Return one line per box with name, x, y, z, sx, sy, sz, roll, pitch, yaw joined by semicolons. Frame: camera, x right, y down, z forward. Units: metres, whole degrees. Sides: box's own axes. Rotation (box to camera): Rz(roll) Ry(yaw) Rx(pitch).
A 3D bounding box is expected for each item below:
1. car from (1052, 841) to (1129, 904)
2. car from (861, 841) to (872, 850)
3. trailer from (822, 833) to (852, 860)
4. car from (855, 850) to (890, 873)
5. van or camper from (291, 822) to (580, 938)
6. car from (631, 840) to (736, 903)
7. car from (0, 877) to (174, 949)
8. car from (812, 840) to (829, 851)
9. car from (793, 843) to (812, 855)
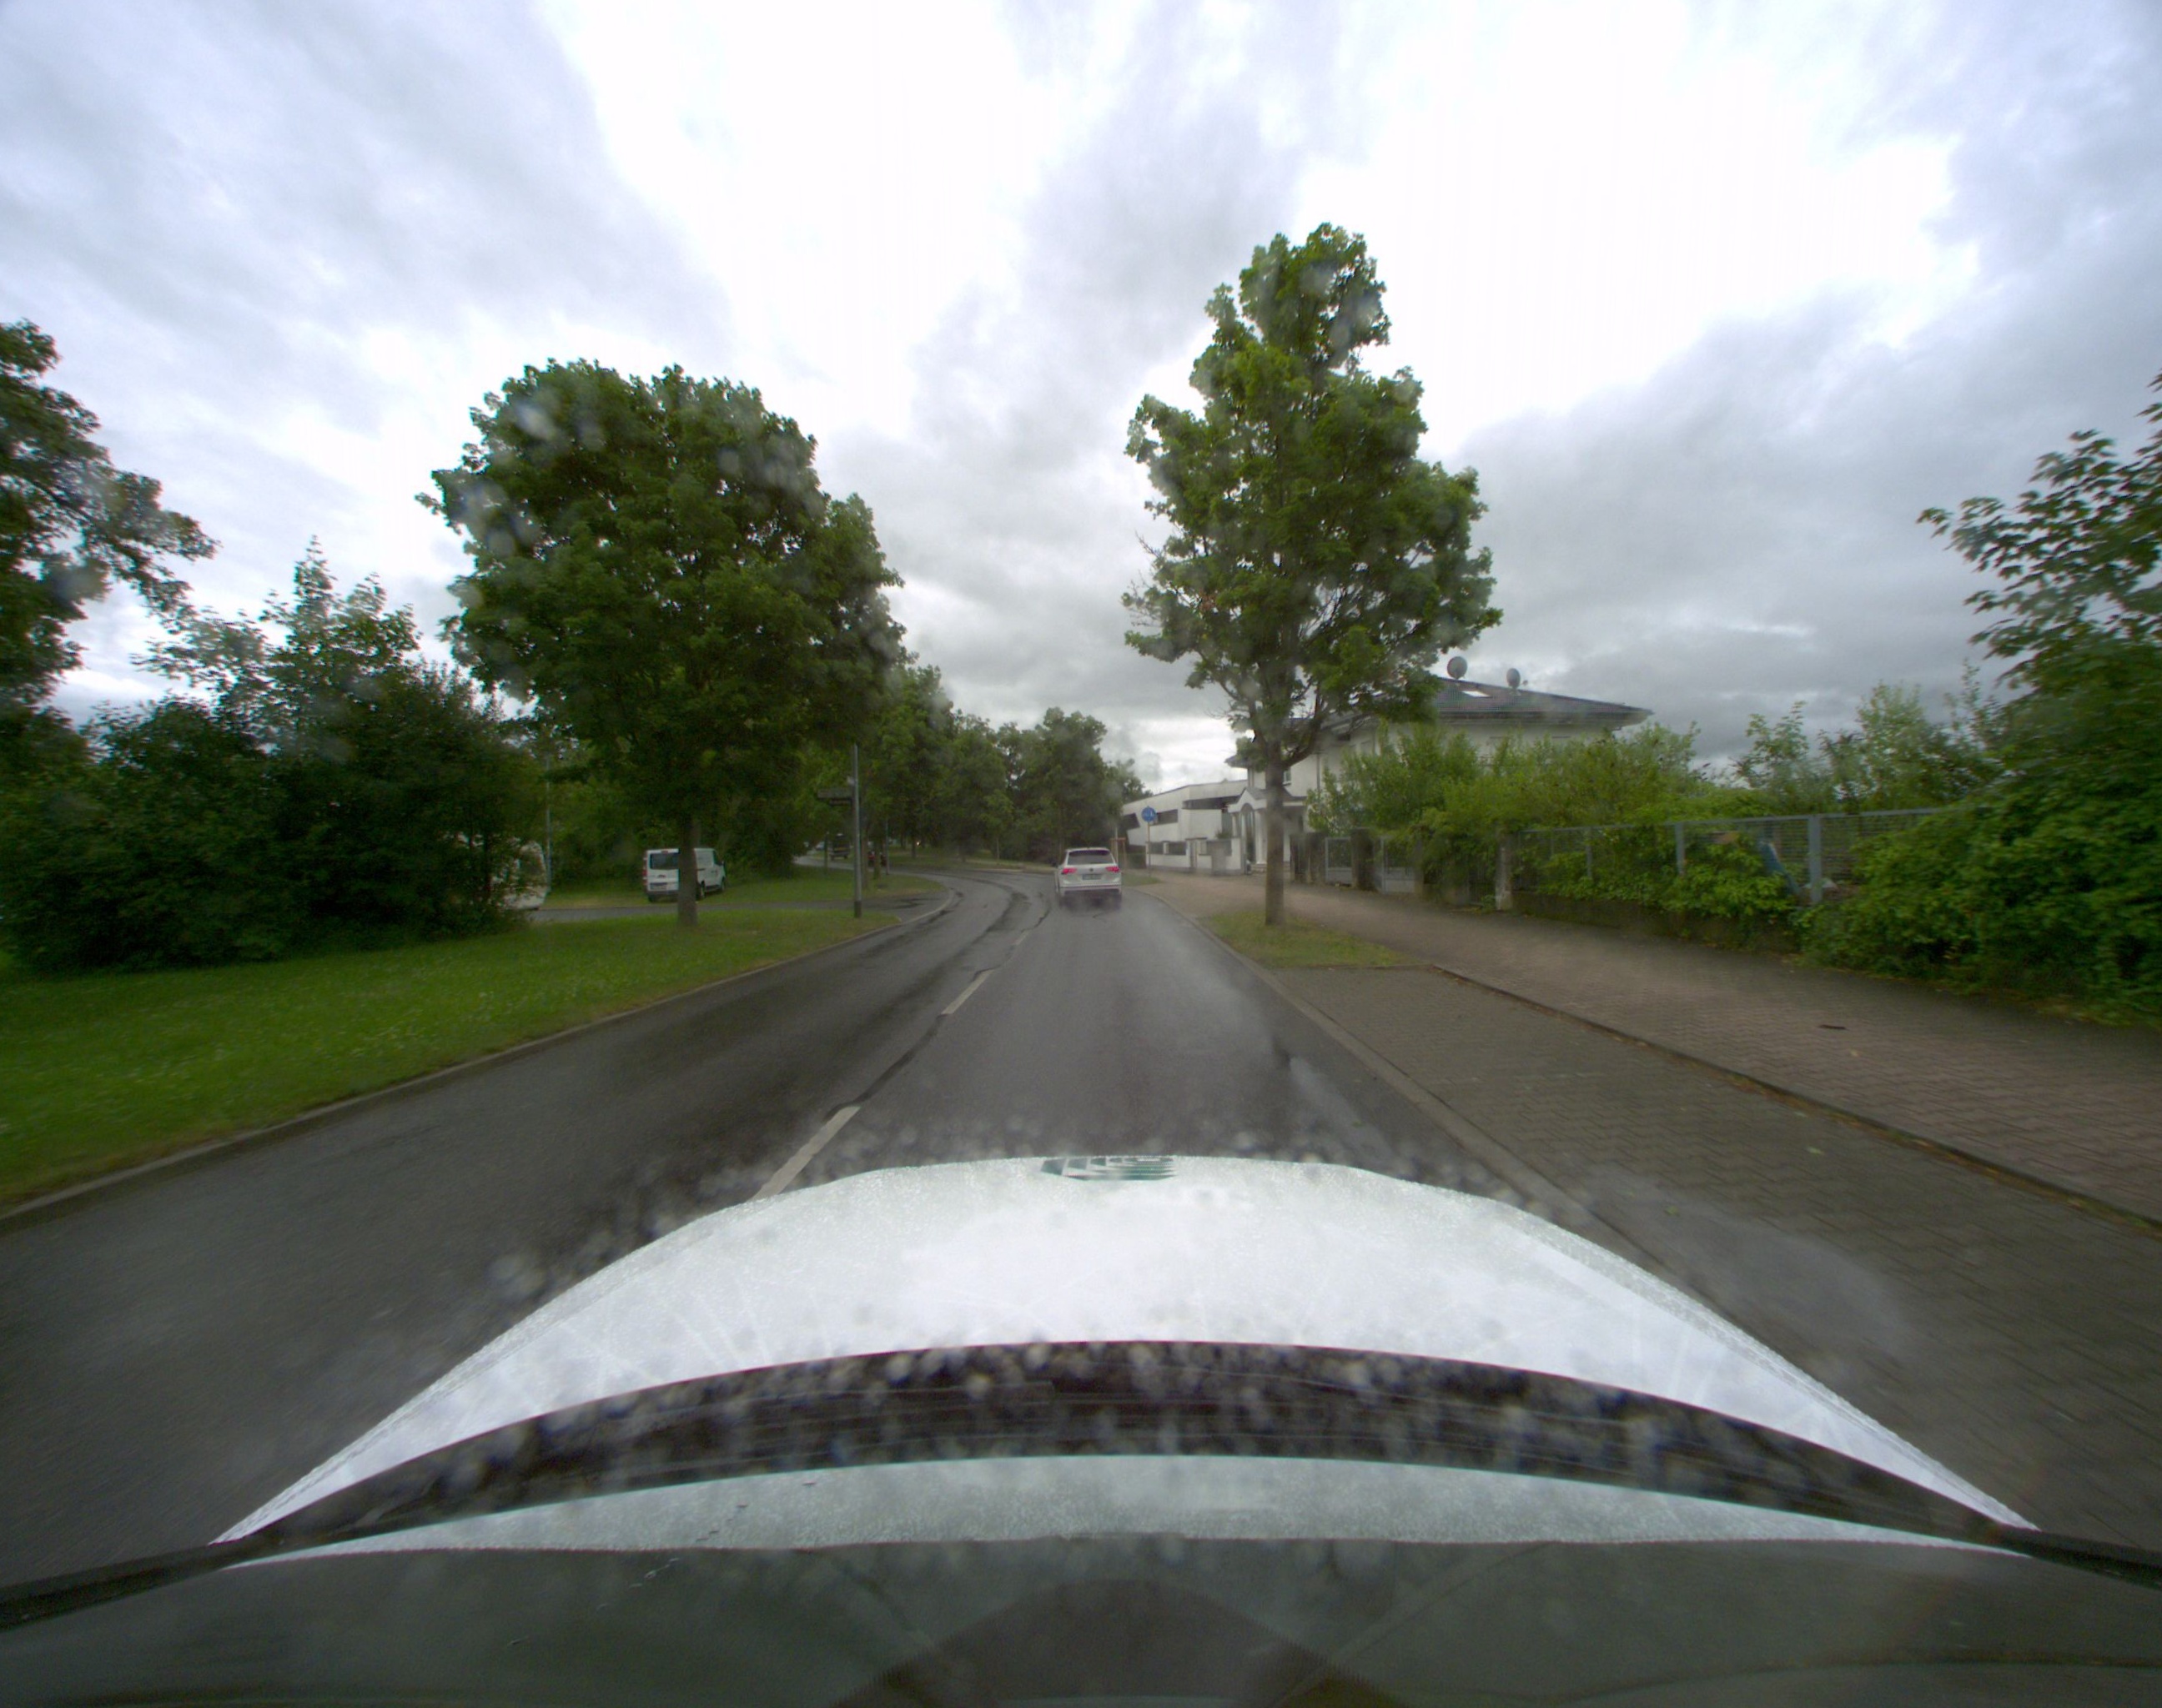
car;0.199;0.501;24.559;1.970;1.653;4.171;-2;0;-4
car;-45.990;-1.791;174.569;1.995;1.807;3.984;1;0;-11
trailer;-27.929;-0.847;93.098;2.006;2.807;5.556;-7;4;-28
car;-18.746;0.634;73.101;1.914;2.014;3.904;1;0;-33
van or camper;-15.749;0.555;20.654;2.381;2.360;6.797;-2;0;-6
car;-15.484;0.576;32.086;2.127;1.985;5.458;-3;3;-9
car;-25.990;1.440;20.404;1.850;1.581;4.344;-1;-1;-5
car;-43.432;-1.414;135.867;1.992;1.804;3.989;1;0;-8
car;-39.027;-0.690;114.047;1.800;1.537;4.056;1;1;-28
